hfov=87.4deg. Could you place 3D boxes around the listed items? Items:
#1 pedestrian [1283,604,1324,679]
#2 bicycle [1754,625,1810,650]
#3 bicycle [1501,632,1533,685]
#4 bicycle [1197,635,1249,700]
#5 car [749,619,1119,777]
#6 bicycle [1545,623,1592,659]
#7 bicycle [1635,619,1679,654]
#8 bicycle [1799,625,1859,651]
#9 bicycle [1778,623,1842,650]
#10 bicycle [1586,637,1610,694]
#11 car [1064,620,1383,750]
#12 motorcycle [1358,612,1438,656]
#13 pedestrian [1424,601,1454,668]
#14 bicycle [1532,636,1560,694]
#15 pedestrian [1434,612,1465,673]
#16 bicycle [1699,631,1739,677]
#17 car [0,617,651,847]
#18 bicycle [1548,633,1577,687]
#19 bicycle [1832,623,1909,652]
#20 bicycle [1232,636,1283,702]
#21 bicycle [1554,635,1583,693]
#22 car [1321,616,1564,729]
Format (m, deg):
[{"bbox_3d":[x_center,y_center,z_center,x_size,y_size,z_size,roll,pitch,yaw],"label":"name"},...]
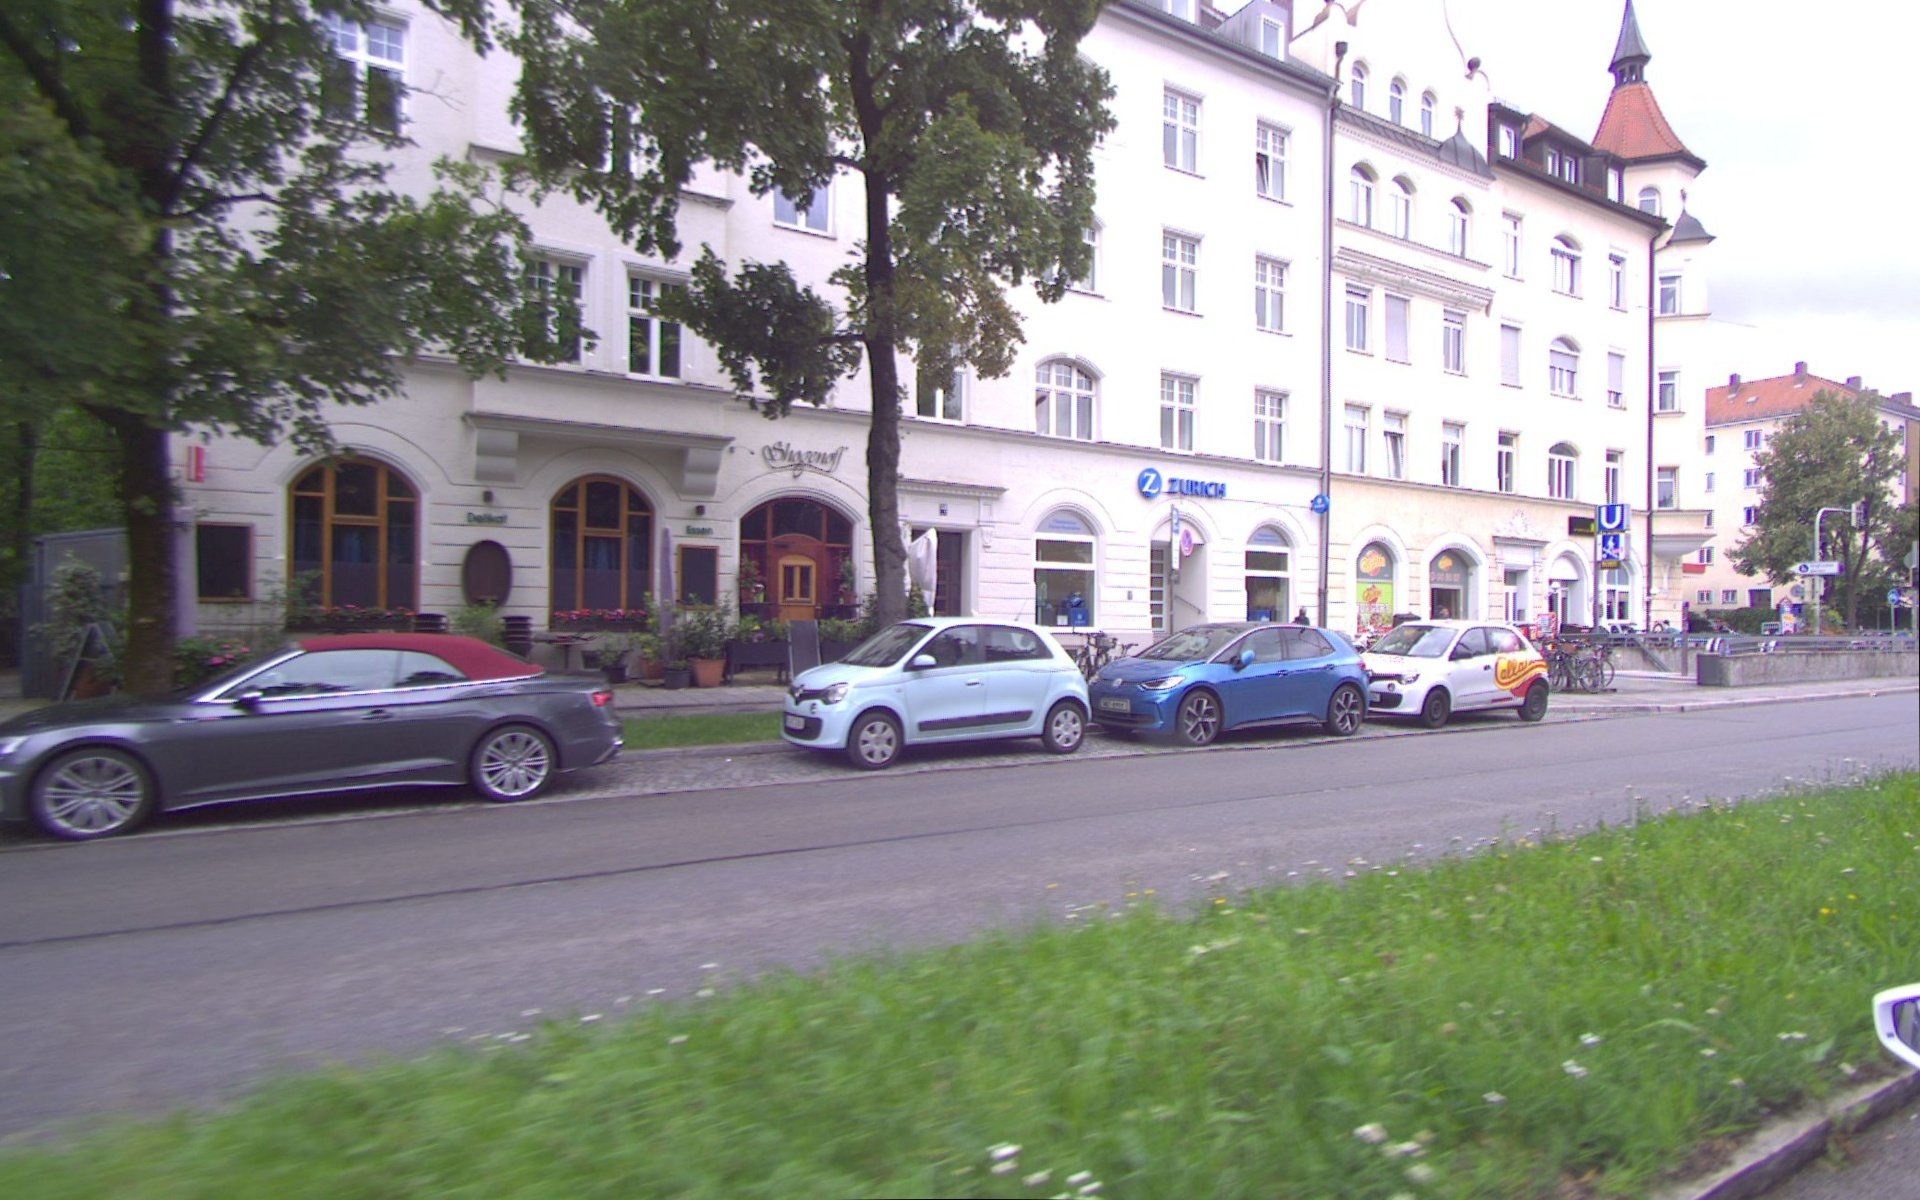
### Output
[{"bbox_3d":[8.003,0.953,23.412,0.762,1.719,0.540,1,-1,-32],"label":"pedestrian"},{"bbox_3d":[42.416,1.912,51.850,0.759,1.252,2.163,1,-1,-38],"label":"bicycle"},{"bbox_3d":[12.538,1.288,22.579,0.390,1.130,1.807,0,-1,36],"label":"bicycle"},{"bbox_3d":[4.991,1.241,18.998,0.495,1.130,1.986,0,-1,28],"label":"bicycle"},{"bbox_3d":[-0.264,1.000,11.623,3.913,1.527,1.802,1,-1,-30],"label":"car"},{"bbox_3d":[17.122,1.150,28.249,1.526,0.993,0.470,1,-1,-30],"label":"bicycle"},{"bbox_3d":[20.754,1.080,29.909,1.526,0.993,0.470,1,-1,-30],"label":"bicycle"},{"bbox_3d":[43.418,1.884,50.199,0.760,1.252,2.161,1,-1,-40],"label":"bicycle"},{"bbox_3d":[43.480,1.859,51.399,0.785,1.267,2.374,1,1,-40],"label":"bicycle"},{"bbox_3d":[13.615,1.375,21.419,0.325,1.130,1.675,0,-1,36],"label":"bicycle"},{"bbox_3d":[3.673,1.062,13.834,4.240,1.527,1.802,1,-1,-30],"label":"car"},{"bbox_3d":[12.184,0.935,27.980,1.947,1.145,0.610,1,0,11],"label":"motorcycle"},{"bbox_3d":[12.490,0.895,26.184,0.583,1.719,0.943,0,-1,33],"label":"pedestrian"},{"bbox_3d":[12.234,1.342,20.950,0.325,1.130,1.675,0,-1,36],"label":"bicycle"},{"bbox_3d":[13.571,1.172,27.849,0.774,1.653,0.420,1,-1,-30],"label":"pedestrian"},{"bbox_3d":[19.560,1.381,25.869,1.798,1.130,0.392,1,-1,-39],"label":"bicycle"},{"bbox_3d":[-5.172,0.931,8.567,4.590,1.527,1.802,1,-1,-30],"label":"car"},{"bbox_3d":[13.567,1.323,22.610,0.390,1.130,1.807,0,-1,36],"label":"bicycle"},{"bbox_3d":[44.952,1.853,49.618,2.664,1.267,0.792,2,1,31],"label":"bicycle"},{"bbox_3d":[5.595,1.262,18.823,0.539,1.130,1.878,0,-1,28],"label":"bicycle"},{"bbox_3d":[12.584,1.304,20.771,0.362,1.130,1.675,0,-1,36],"label":"bicycle"},{"bbox_3d":[7.751,1.081,16.103,3.742,1.606,1.643,1,-1,-28],"label":"car"}]
